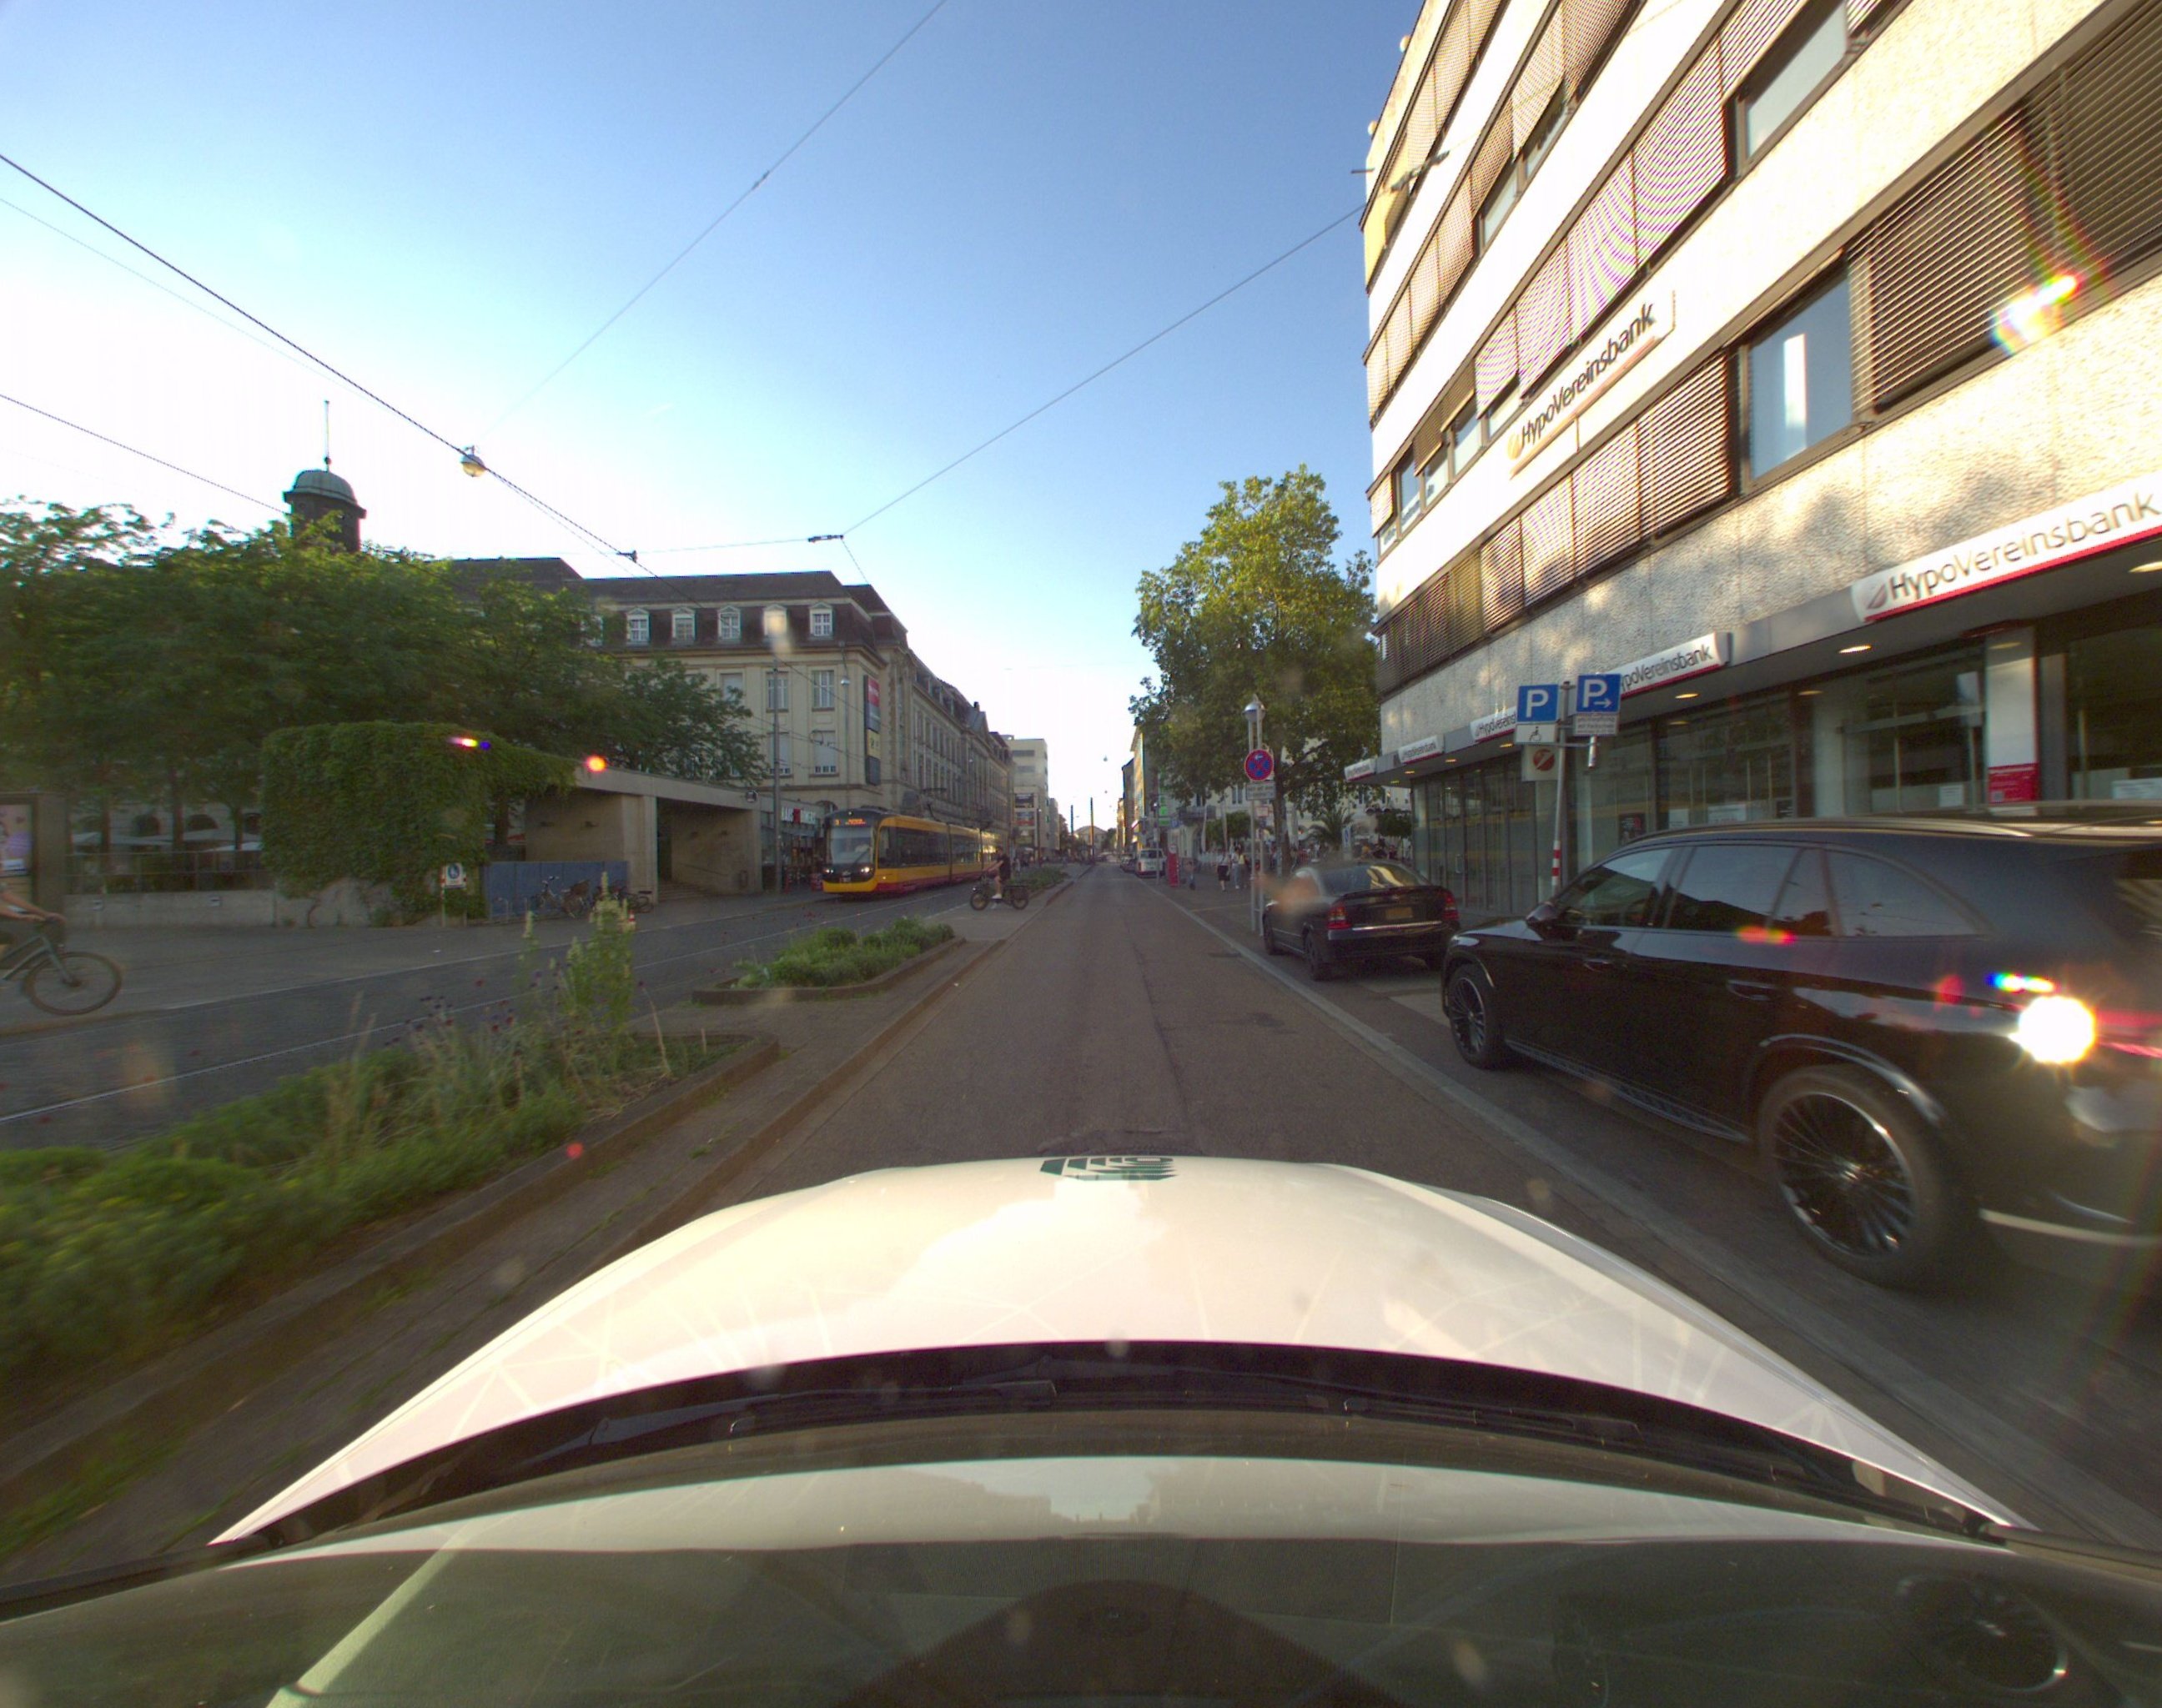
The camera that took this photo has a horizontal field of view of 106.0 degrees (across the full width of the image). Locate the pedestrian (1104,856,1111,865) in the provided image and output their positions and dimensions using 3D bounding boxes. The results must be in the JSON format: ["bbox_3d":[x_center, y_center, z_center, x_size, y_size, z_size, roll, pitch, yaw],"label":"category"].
[{"bbox_3d":[5.621,1.420,171.040,1.231,1.928,1.017,-1,-1,-15],"label":"pedestrian"}]

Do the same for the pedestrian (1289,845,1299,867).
[{"bbox_3d":[11.904,0.121,45.435,0.470,1.242,0.542,-2,-2,16],"label":"pedestrian"}]

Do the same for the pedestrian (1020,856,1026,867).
[{"bbox_3d":[-8.572,1.113,120.183,0.773,1.580,0.676,-1,0,-10],"label":"pedestrian"}]

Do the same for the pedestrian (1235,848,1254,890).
[{"bbox_3d":[6.868,0.640,34.215,0.675,1.717,0.655,-2,-2,4],"label":"pedestrian"}]

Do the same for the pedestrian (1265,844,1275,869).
[{"bbox_3d":[10.425,0.140,44.963,0.470,1.330,0.542,-2,-2,16],"label":"pedestrian"}]

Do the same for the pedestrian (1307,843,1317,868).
[{"bbox_3d":[12.180,0.070,42.922,0.470,1.285,0.542,-2,-2,17],"label":"pedestrian"}]

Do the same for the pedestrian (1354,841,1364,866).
[{"bbox_3d":[14.572,-0.012,42.677,0.470,1.285,0.542,-2,-2,17],"label":"pedestrian"}]

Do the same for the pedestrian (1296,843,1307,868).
[{"bbox_3d":[11.751,0.101,43.342,0.473,1.285,0.528,-2,-2,18],"label":"pedestrian"}]

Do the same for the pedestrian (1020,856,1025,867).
[{"bbox_3d":[-8.694,1.109,121.002,0.777,1.580,0.676,-1,0,-10],"label":"pedestrian"}]

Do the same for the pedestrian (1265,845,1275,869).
[{"bbox_3d":[10.562,0.163,45.541,0.470,1.285,0.542,-2,-2,16],"label":"pedestrian"}]

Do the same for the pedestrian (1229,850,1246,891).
[{"bbox_3d":[6.711,0.705,34.928,0.611,1.717,0.662,-2,-2,3],"label":"pedestrian"}]

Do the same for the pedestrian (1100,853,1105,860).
[{"bbox_3d":[5.872,0.745,223.108,0.773,1.734,0.818,-3,-3,41],"label":"pedestrian"}]

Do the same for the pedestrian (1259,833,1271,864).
[{"bbox_3d":[13.932,-0.388,61.636,0.614,2.305,0.577,-1,-2,-20],"label":"pedestrian"}]

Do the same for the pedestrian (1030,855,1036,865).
[{"bbox_3d":[-9.856,1.250,166.764,0.907,1.928,0.846,-1,0,-15],"label":"pedestrian"}]

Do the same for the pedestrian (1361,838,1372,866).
[{"bbox_3d":[14.641,-0.090,41.713,0.470,1.400,0.542,-2,-2,17],"label":"pedestrian"}]

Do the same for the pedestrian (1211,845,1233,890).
[{"bbox_3d":[5.755,0.546,33.278,0.711,1.803,0.825,-3,-1,4],"label":"pedestrian"}]

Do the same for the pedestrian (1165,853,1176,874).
[{"bbox_3d":[7.721,0.816,70.205,0.785,1.751,0.893,-1,-2,-6],"label":"pedestrian"}]

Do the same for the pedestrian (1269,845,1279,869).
[{"bbox_3d":[10.514,0.145,44.350,0.470,1.285,0.542,-2,-2,16],"label":"pedestrian"}]

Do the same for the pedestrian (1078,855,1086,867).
[{"bbox_3d":[0.153,1.025,119.732,1.041,1.686,0.911,-2,-2,13],"label":"pedestrian"}]

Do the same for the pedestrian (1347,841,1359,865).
[{"bbox_3d":[15.082,-0.046,45.174,0.535,1.285,0.477,-2,-2,11],"label":"pedestrian"}]

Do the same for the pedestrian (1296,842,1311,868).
[{"bbox_3d":[11.392,0.067,41.684,0.639,1.285,0.744,-2,-2,17],"label":"pedestrian"}]

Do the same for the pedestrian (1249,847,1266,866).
[{"bbox_3d":[12.341,0.153,57.054,0.960,1.267,0.905,-2,-2,1],"label":"pedestrian"}]

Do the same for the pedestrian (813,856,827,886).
[{"bbox_3d":[-14.501,0.953,45.228,0.717,1.646,0.655,0,-1,-21],"label":"pedestrian"}]

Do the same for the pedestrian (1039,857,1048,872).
[{"bbox_3d":[-4.427,1.247,95.842,1.048,1.686,0.906,-1,0,-8],"label":"pedestrian"}]

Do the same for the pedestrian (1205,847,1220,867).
[{"bbox_3d":[9.331,0.221,57.774,0.899,1.306,0.966,-2,-2,1],"label":"pedestrian"}]

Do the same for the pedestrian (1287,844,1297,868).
[{"bbox_3d":[11.493,0.135,44.349,0.470,1.285,0.542,-2,-2,16],"label":"pedestrian"}]

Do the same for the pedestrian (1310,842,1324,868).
[{"bbox_3d":[12.006,0.038,41.429,0.639,1.285,0.744,-2,-2,17],"label":"pedestrian"}]

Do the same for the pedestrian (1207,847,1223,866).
[{"bbox_3d":[9.338,0.190,56.739,0.899,1.314,0.966,-2,-2,1],"label":"pedestrian"}]

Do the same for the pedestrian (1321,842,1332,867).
[{"bbox_3d":[12.799,0.033,42.472,0.470,1.285,0.542,-2,-2,17],"label":"pedestrian"}]

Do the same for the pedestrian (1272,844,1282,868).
[{"bbox_3d":[10.514,0.125,43.730,0.470,1.285,0.542,-2,-2,16],"label":"pedestrian"}]

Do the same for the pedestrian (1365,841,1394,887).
[{"bbox_3d":[11.549,0.396,31.520,0.827,1.741,0.651,0,-3,-37],"label":"pedestrian"}]
